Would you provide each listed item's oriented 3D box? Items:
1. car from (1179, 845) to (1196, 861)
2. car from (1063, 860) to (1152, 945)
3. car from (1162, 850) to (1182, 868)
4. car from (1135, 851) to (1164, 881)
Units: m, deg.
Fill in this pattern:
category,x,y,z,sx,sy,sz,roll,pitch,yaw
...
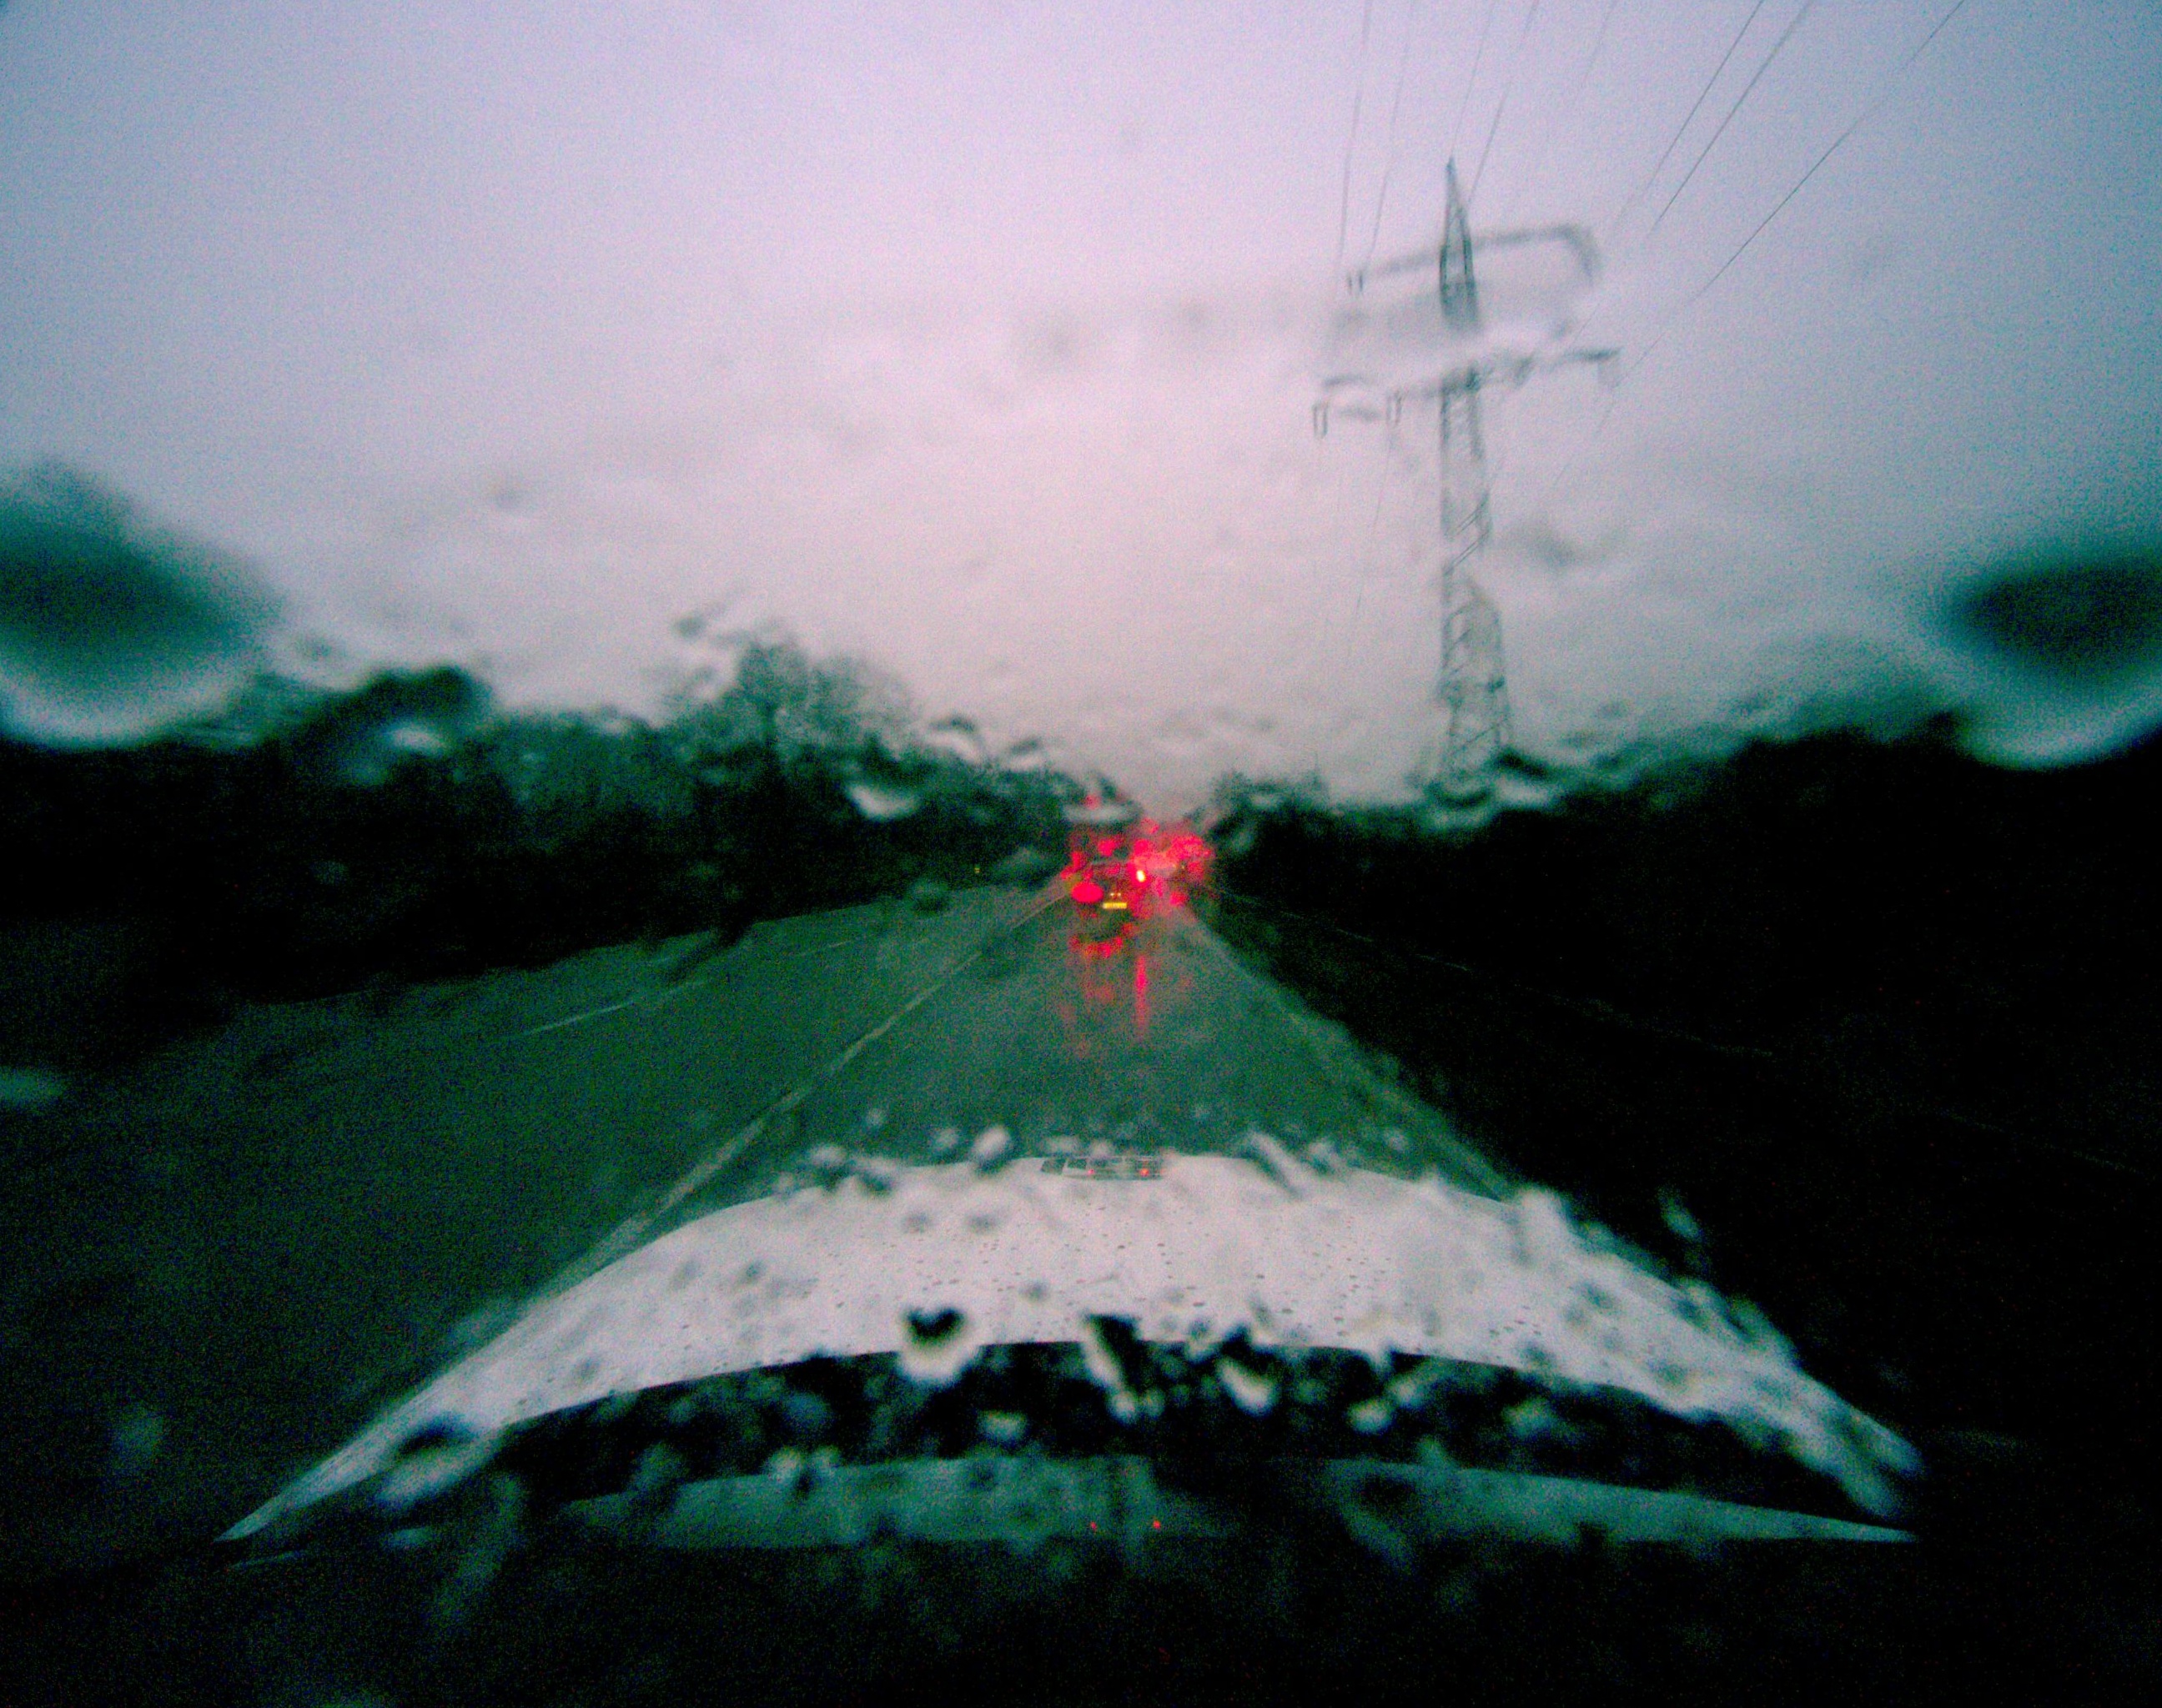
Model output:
category,x,y,z,sx,sy,sz,roll,pitch,yaw
car,13.190,-0.104,100.851,1.935,1.744,4.010,-1,2,8
car,0.638,1.028,18.904,1.723,1.532,4.045,-5,0,2
car,9.611,0.508,85.557,1.935,1.744,4.010,-1,2,8
car,5.230,0.926,62.237,1.938,2.013,4.004,-7,-2,4
